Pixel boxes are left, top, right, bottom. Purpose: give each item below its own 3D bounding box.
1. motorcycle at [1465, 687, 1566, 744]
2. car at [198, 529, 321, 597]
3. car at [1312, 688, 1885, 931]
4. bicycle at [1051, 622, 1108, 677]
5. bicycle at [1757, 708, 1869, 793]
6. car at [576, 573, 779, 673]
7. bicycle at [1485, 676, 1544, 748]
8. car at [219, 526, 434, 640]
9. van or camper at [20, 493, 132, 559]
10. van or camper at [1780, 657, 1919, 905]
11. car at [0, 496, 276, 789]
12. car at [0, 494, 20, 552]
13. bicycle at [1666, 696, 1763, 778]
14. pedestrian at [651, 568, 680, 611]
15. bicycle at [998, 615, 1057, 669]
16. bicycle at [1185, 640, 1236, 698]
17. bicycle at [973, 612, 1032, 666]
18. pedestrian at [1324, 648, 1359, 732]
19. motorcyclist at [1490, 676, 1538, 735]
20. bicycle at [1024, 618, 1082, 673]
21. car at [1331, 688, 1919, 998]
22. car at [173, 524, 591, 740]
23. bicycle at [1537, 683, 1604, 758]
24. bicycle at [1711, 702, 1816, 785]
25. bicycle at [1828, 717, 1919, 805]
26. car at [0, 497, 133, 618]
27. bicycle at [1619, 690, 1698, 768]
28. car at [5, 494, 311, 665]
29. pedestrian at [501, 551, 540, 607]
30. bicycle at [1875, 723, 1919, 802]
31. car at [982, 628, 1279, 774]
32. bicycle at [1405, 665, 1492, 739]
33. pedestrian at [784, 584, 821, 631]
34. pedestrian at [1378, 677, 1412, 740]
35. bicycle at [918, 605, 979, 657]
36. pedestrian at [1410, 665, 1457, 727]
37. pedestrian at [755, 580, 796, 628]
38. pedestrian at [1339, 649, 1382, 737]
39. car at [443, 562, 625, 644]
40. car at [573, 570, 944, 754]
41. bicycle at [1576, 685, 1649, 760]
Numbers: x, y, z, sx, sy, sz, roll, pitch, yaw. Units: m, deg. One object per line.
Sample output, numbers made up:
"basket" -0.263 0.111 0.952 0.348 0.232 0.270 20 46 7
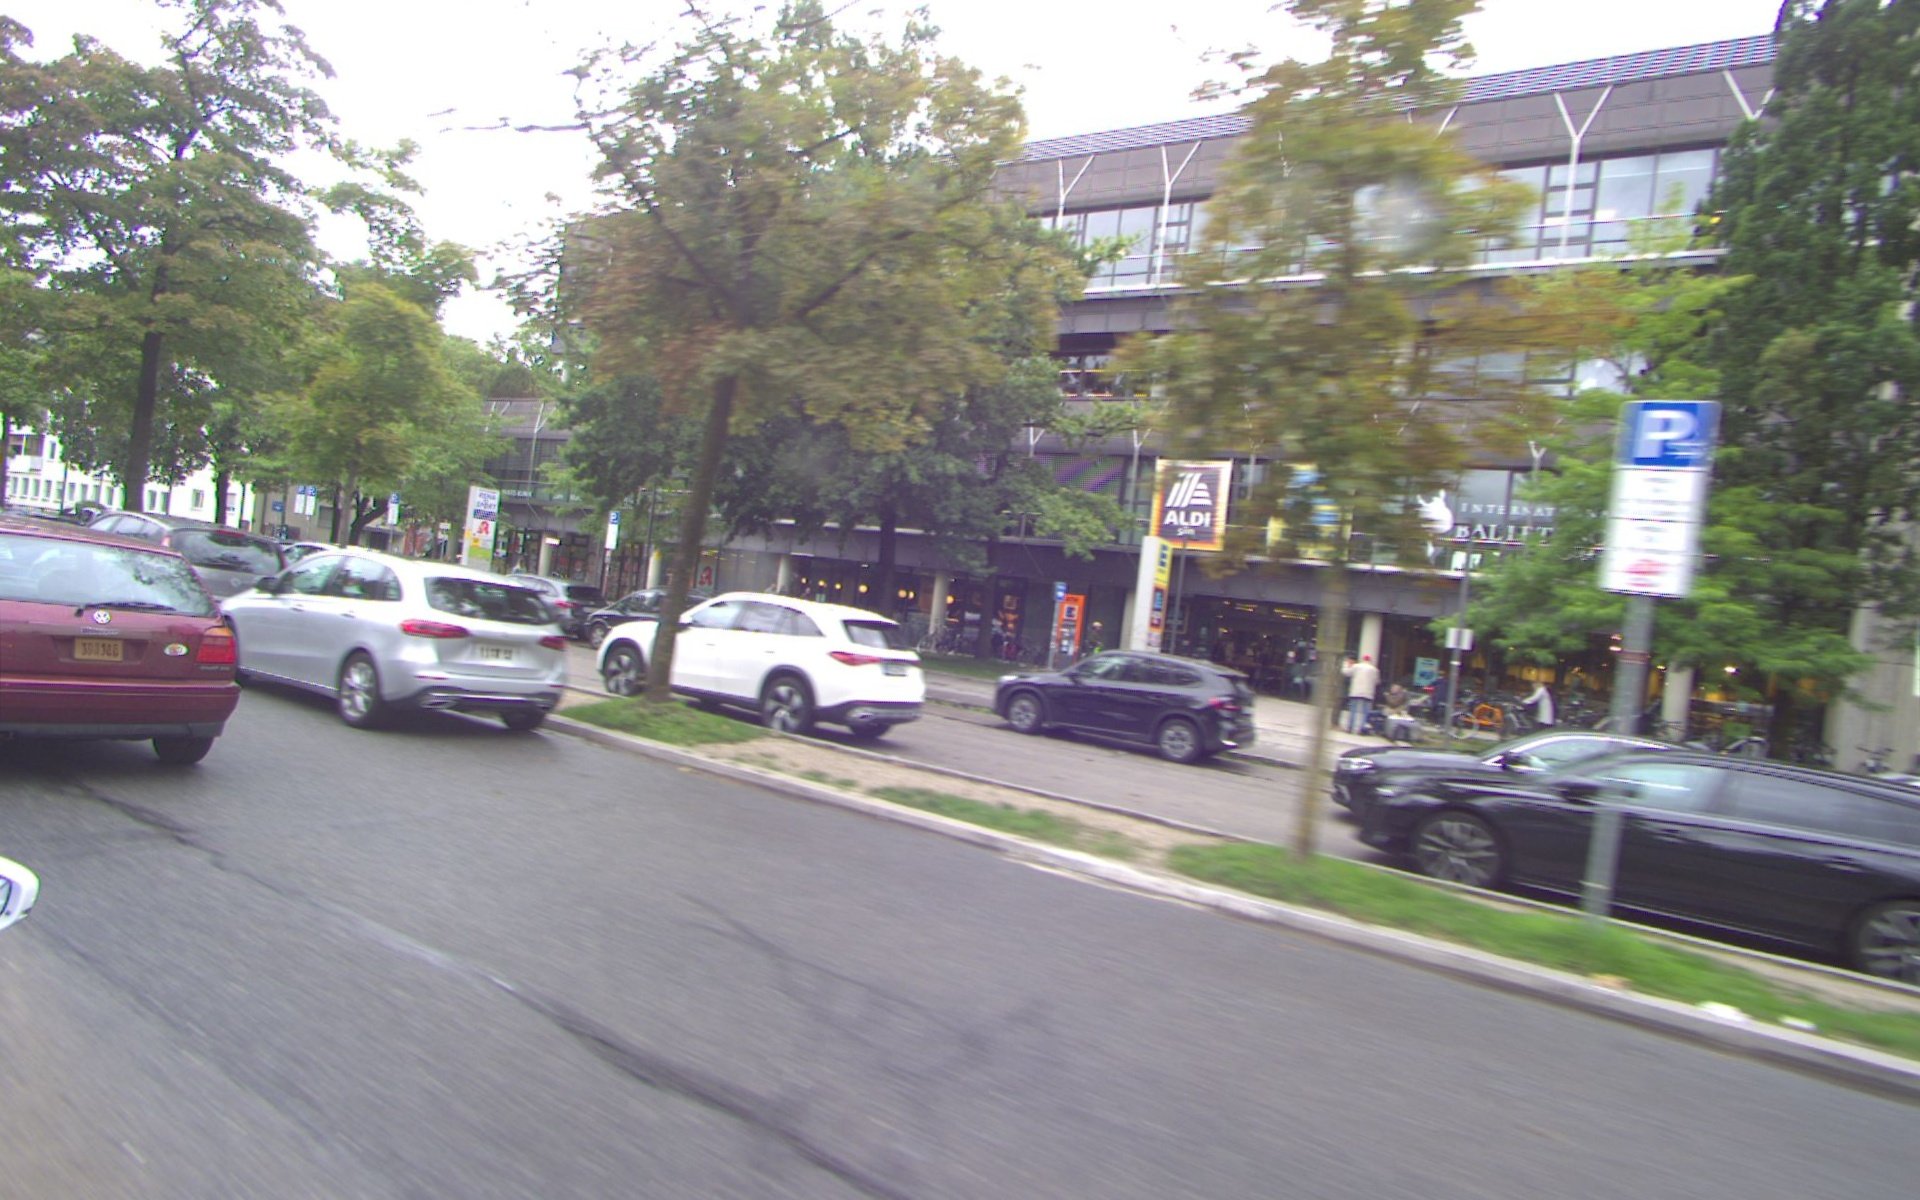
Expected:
"motorcycle" 15.491 3.191 28.073 2.329 1.211 0.947 7 0 32
"car" -21.694 -1.144 31.123 3.963 1.604 1.686 7 -1 34
"car" 6.525 2.046 10.895 4.758 1.471 1.687 7 -1 31
"bicycle" 3.676 1.536 30.639 0.784 1.526 2.617 7 -1 25
"bicycle" 18.606 3.242 22.032 0.783 1.526 2.619 7 -1 18
"car" -6.328 0.496 22.445 4.308 1.652 1.687 7 -1 30
"bicycle" 13.303 2.647 24.219 0.784 1.526 2.618 7 -1 23
"car" -11.835 -0.335 18.740 3.960 1.604 1.687 7 -1 31
"van or camper" -33.747 -2.839 38.385 4.235 1.998 1.947 7 -1 32
"van or camper" 12.775 2.308 10.661 5.858 2.589 2.027 7 0 32
"car" -6.277 0.060 6.377 3.883 1.471 1.625 7 -1 31
"car" -29.320 -2.466 29.338 3.960 1.604 1.687 7 -1 31
"bicycle" 16.899 3.023 22.616 0.783 1.526 2.619 7 -1 18
"pedestrian" -12.521 -0.436 42.789 0.686 1.724 0.682 7 -1 31
"bicycle" 2.147 1.348 31.539 0.784 1.526 2.617 7 -1 25
"bicycle" 7.323 2.017 29.321 0.784 1.526 2.617 7 -1 25
"bicycle" 1.396 1.279 32.371 0.784 1.526 2.617 7 -1 25
"pedestrian" 8.795 2.065 23.229 0.533 1.852 0.678 7 0 20
"motorcyclist" 15.478 2.930 28.099 0.968 1.494 0.943 7 0 32
"bicycle" 2.898 1.441 31.126 0.784 1.526 2.617 7 -1 25
"car" 5.611 1.785 7.952 4.658 1.471 1.686 7 -1 34
"car" -5.949 0.269 10.185 4.382 1.542 1.688 7 -2 32
"bicycle" 14.376 2.796 23.753 0.784 1.526 2.618 7 -1 23
"bicycle" 17.799 3.143 22.376 0.783 1.526 2.619 7 -1 18
"bicycle" 19.334 3.323 20.765 0.783 1.526 2.620 7 -1 10
"car" -14.807 -0.792 15.624 4.235 1.572 1.687 7 -1 32
"bicycle" 15.958 2.904 23.065 0.784 1.526 2.618 7 -1 23
"car" -10.469 -0.299 13.053 4.235 1.644 1.688 7 -2 32
"pedestrian" -14.623 -0.690 33.455 0.690 1.727 0.748 7 0 32
"bicycle" 20.244 3.445 20.610 0.783 1.526 2.620 7 -1 10
"car" 2.780 1.599 16.752 4.422 1.652 1.687 7 -1 30
"bicycle" 11.968 2.459 24.762 0.783 1.526 2.619 7 -1 2
"pedestrian" -6.326 0.309 40.417 0.785 1.724 0.965 7 -1 31
"pedestrian" 9.922 2.466 22.973 0.541 1.329 0.559 7 0 20
"bicycle" -0.359 1.060 33.319 0.784 1.526 2.617 7 -1 25
"pedestrian" 13.258 2.681 28.177 0.955 1.598 0.689 7 0 32
"pedestrian" -7.485 0.173 40.875 1.029 1.724 1.018 7 -1 31
"pedestrian" 8.956 2.066 22.514 0.668 1.852 0.559 7 0 21
"car" -10.678 0.064 25.158 4.306 1.452 1.688 7 -1 27
"car" -2.722 0.730 13.115 4.700 1.652 1.687 7 -1 31
"bicycle" 15.119 2.802 23.390 0.784 1.526 2.618 7 -1 23
